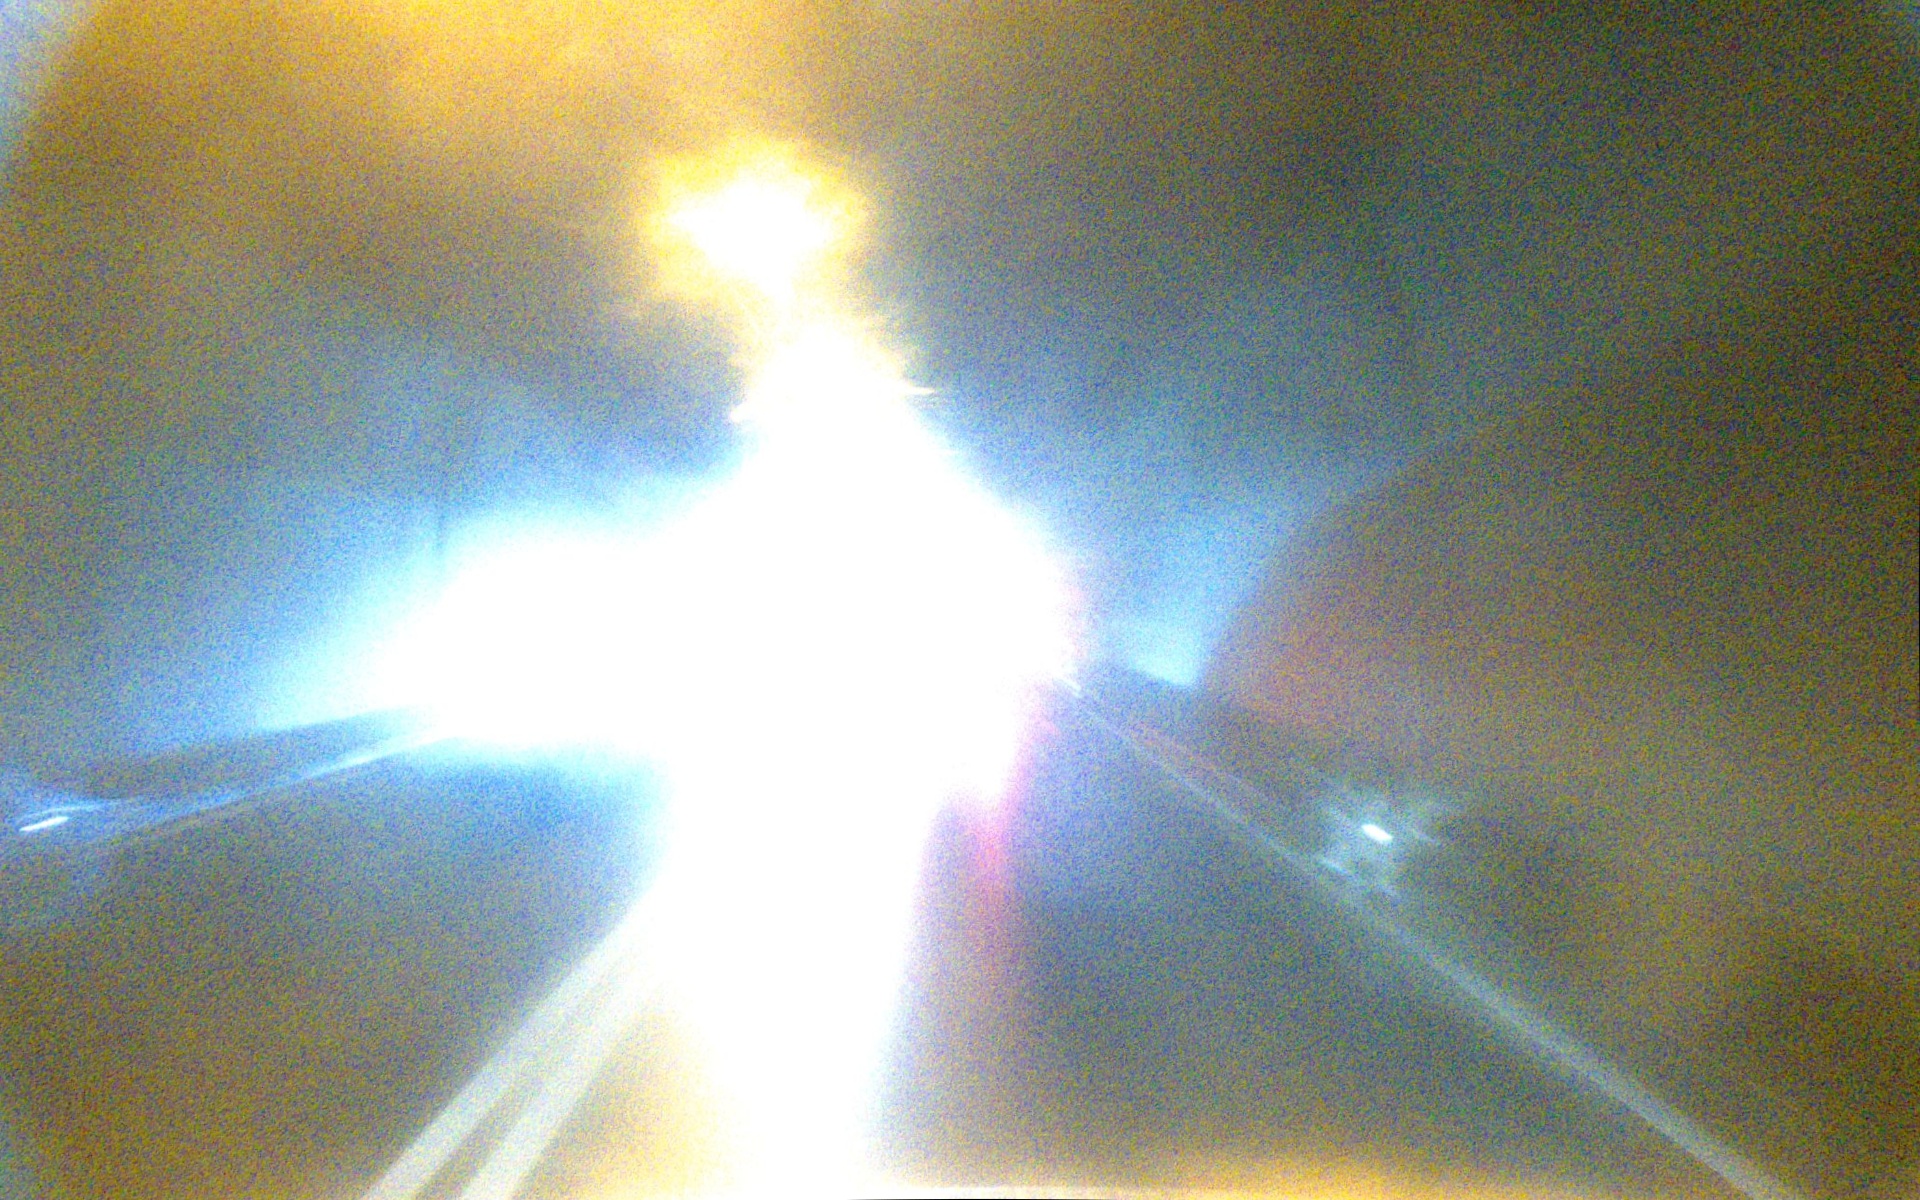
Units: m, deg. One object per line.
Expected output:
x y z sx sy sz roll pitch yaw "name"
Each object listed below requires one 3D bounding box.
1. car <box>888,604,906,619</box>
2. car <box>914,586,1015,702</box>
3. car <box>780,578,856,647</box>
-6.520 1.164 170.954 1.741 1.433 4.292 -1 1 -3 "car"
0.067 0.686 28.415 1.602 1.788 4.146 -1 1 0 "car"
-3.583 0.279 42.314 1.602 1.630 4.146 -1 1 0 "car"
